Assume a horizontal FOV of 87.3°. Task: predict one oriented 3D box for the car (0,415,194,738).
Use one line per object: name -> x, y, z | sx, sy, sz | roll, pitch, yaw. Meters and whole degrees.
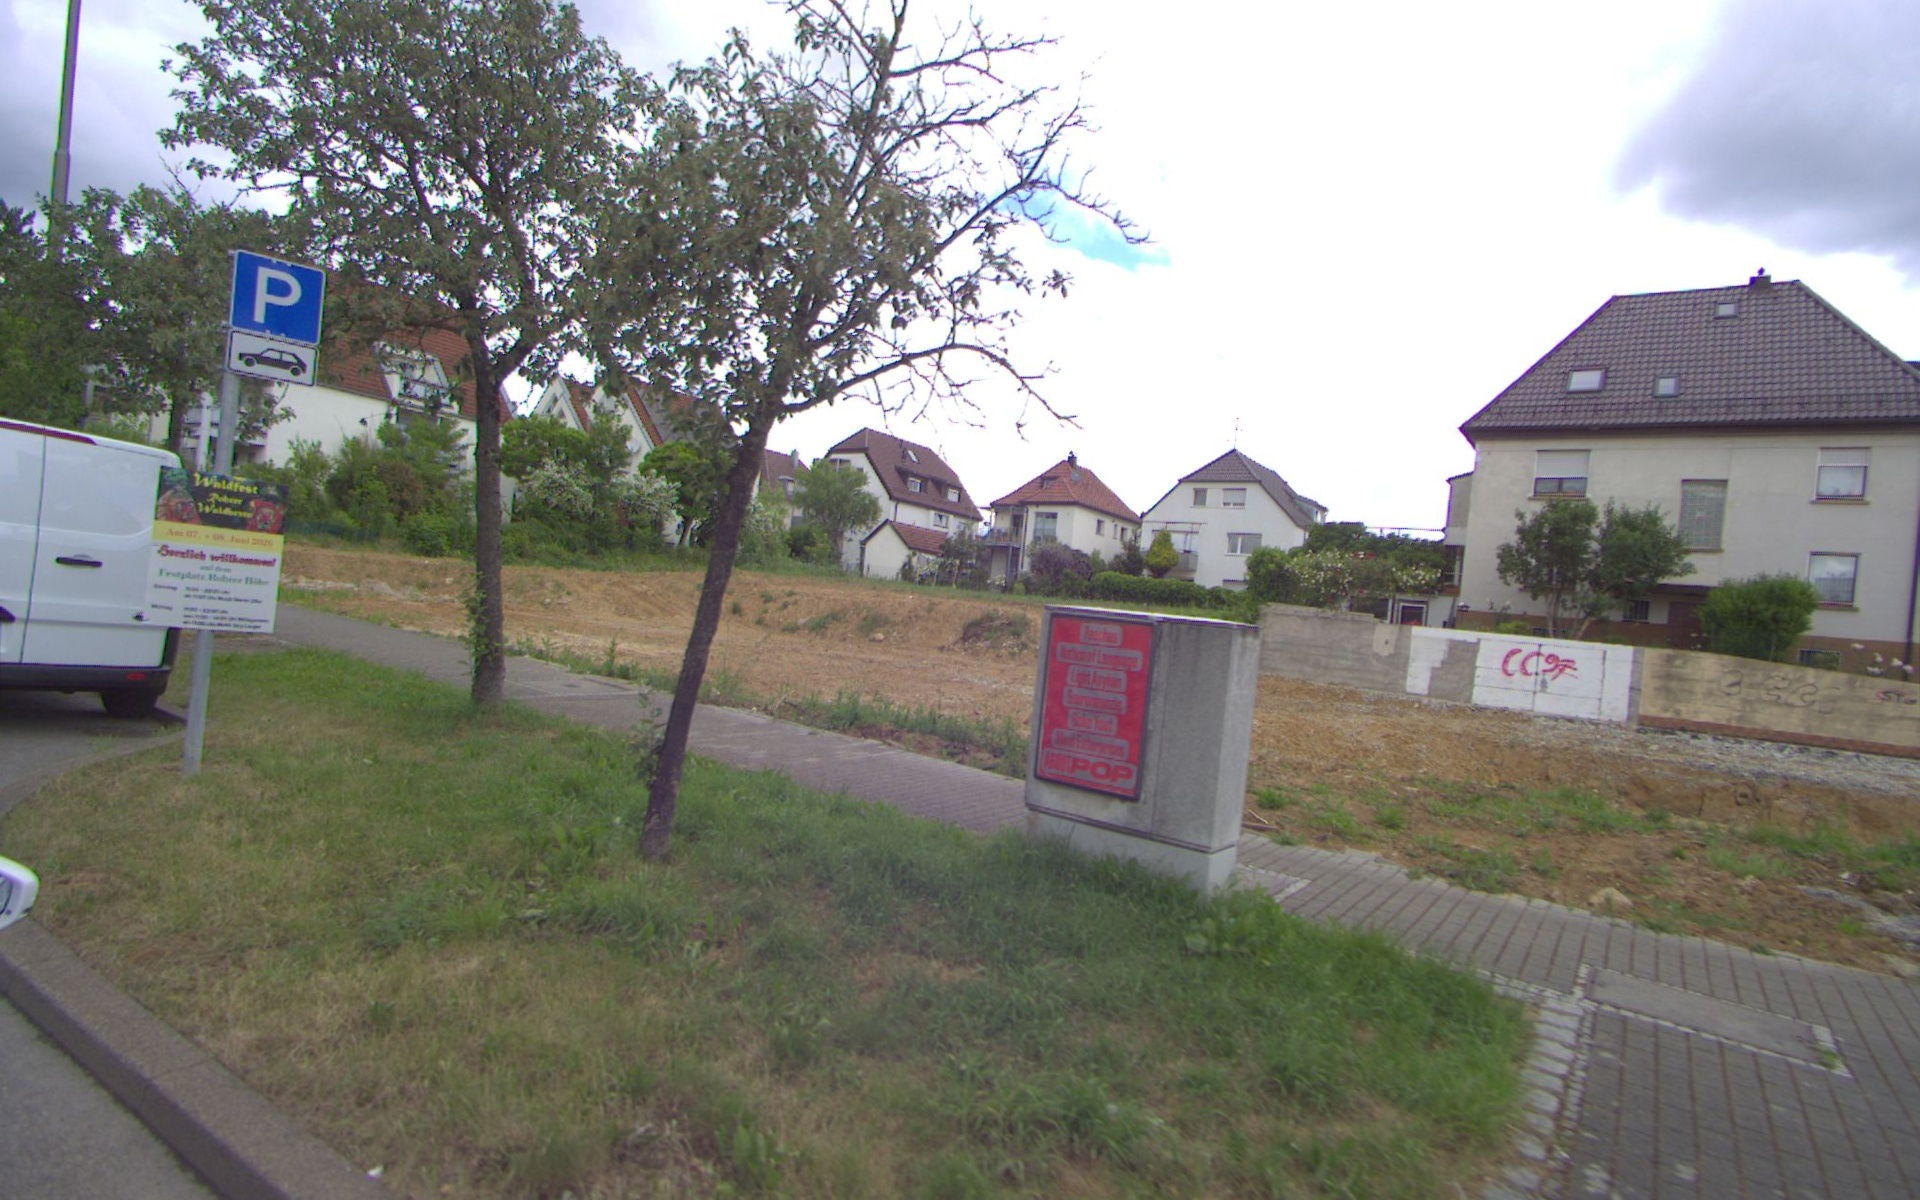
car -> -7.784, -0.350, 7.506 | 4.712, 1.967, 1.776 | 7, -1, 34
